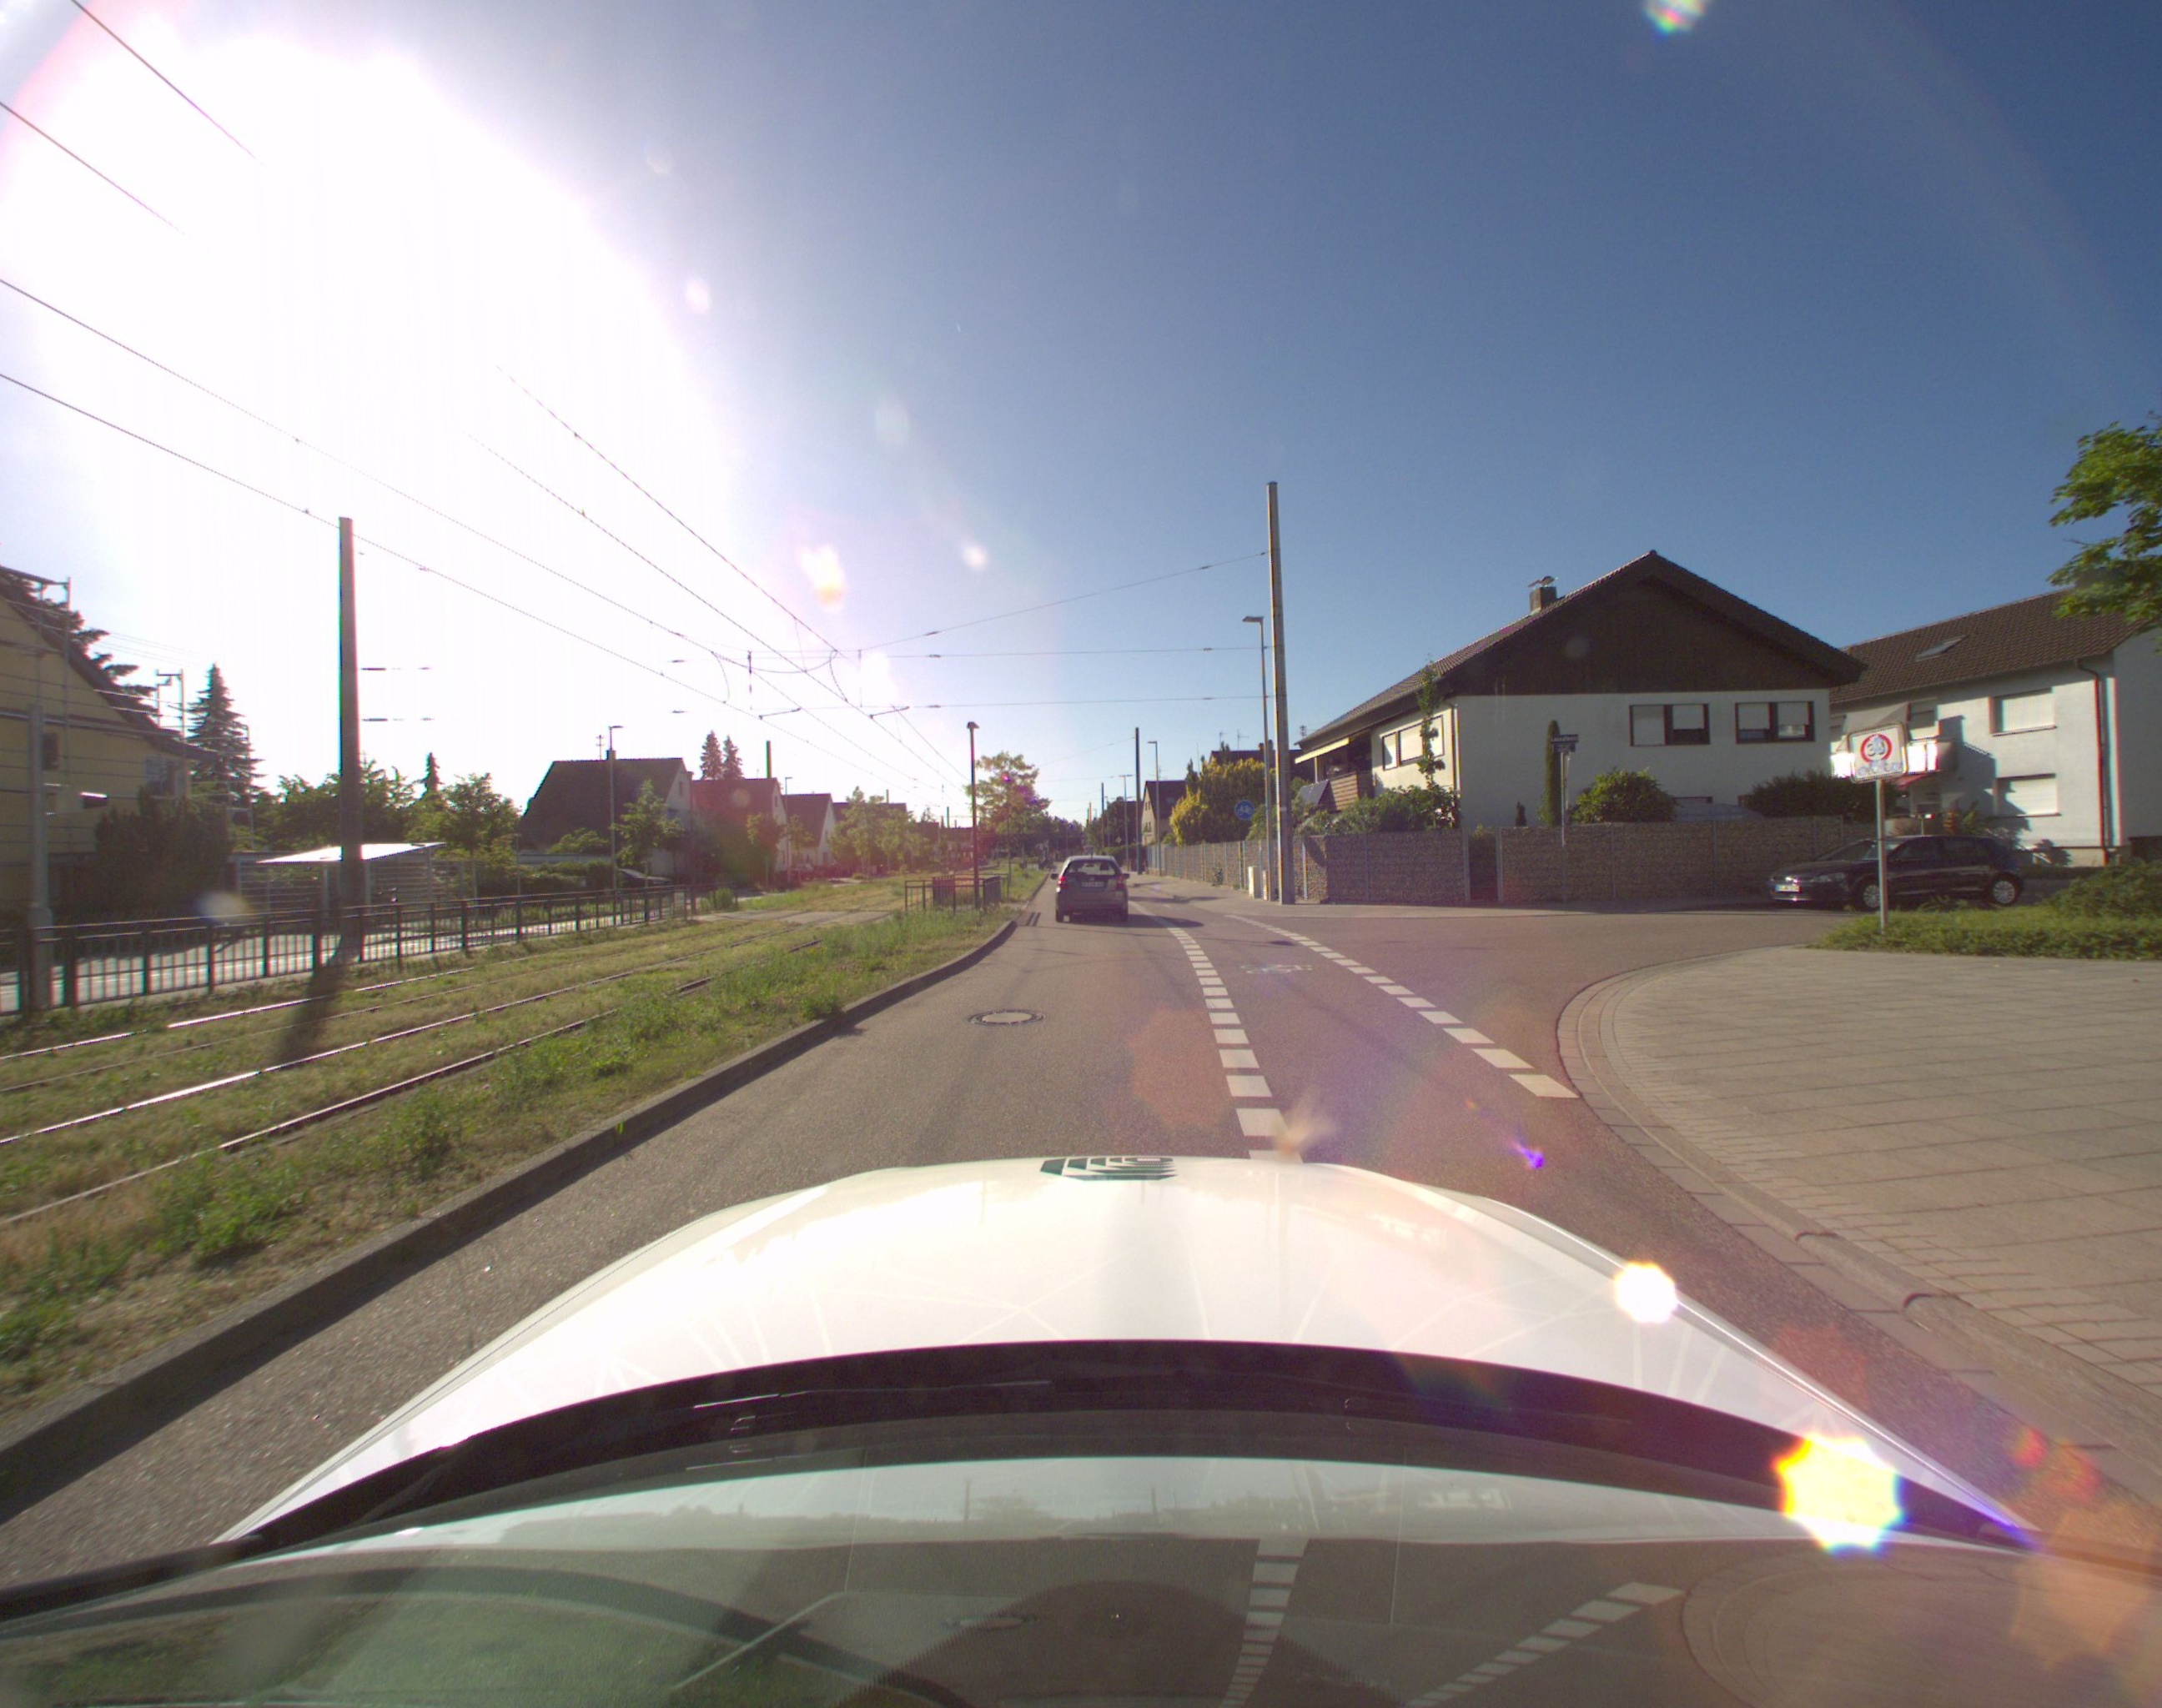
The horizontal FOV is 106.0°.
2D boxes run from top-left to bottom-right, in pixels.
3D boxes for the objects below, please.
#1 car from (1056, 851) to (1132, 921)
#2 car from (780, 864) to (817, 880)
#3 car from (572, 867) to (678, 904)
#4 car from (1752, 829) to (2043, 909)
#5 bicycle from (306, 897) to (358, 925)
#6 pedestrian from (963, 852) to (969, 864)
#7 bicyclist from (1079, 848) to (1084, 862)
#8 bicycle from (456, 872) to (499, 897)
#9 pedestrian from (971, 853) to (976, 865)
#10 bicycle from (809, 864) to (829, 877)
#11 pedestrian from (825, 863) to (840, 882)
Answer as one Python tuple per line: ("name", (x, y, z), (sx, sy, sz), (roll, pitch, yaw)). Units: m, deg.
("car", (0.313, 0.708, 19.691), (1.664, 1.536, 3.487), (-1, 0, 1))
("car", (-27.070, 1.697, 78.225), (1.929, 1.450, 5.158), (-2, 0, -2))
("car", (-24.595, 1.663, 44.081), (4.546, 1.734, 2.043), (-2, 0, -14))
("car", (16.250, 0.281, 16.368), (3.974, 1.373, 1.857), (-2, 0, 0))
("bicycle", (-24.034, 1.806, 26.164), (0.310, 0.821, 1.508), (0, -1, -2))
("pedestrian", (-14.858, 0.518, 105.067), (0.674, 1.535, 0.747), (-2, 0, -6))
("bicyclist", (0.032, 0.125, 102.476), (0.597, 1.701, 0.683), (0, -1, -2))
("bicycle", (-23.529, 1.164, 31.789), (0.422, 0.942, 1.747), (0, -1, -2))
("pedestrian", (-15.249, 0.684, 115.885), (0.499, 1.696, 0.771), (-4, 0, -1))
("bicycle", (-28.833, 1.851, 89.724), (1.988, 1.365, 0.703), (-2, -1, -9))
("pedestrian", (-22.148, 1.638, 72.700), (0.962, 1.640, 1.085), (-2, -1, -2))
